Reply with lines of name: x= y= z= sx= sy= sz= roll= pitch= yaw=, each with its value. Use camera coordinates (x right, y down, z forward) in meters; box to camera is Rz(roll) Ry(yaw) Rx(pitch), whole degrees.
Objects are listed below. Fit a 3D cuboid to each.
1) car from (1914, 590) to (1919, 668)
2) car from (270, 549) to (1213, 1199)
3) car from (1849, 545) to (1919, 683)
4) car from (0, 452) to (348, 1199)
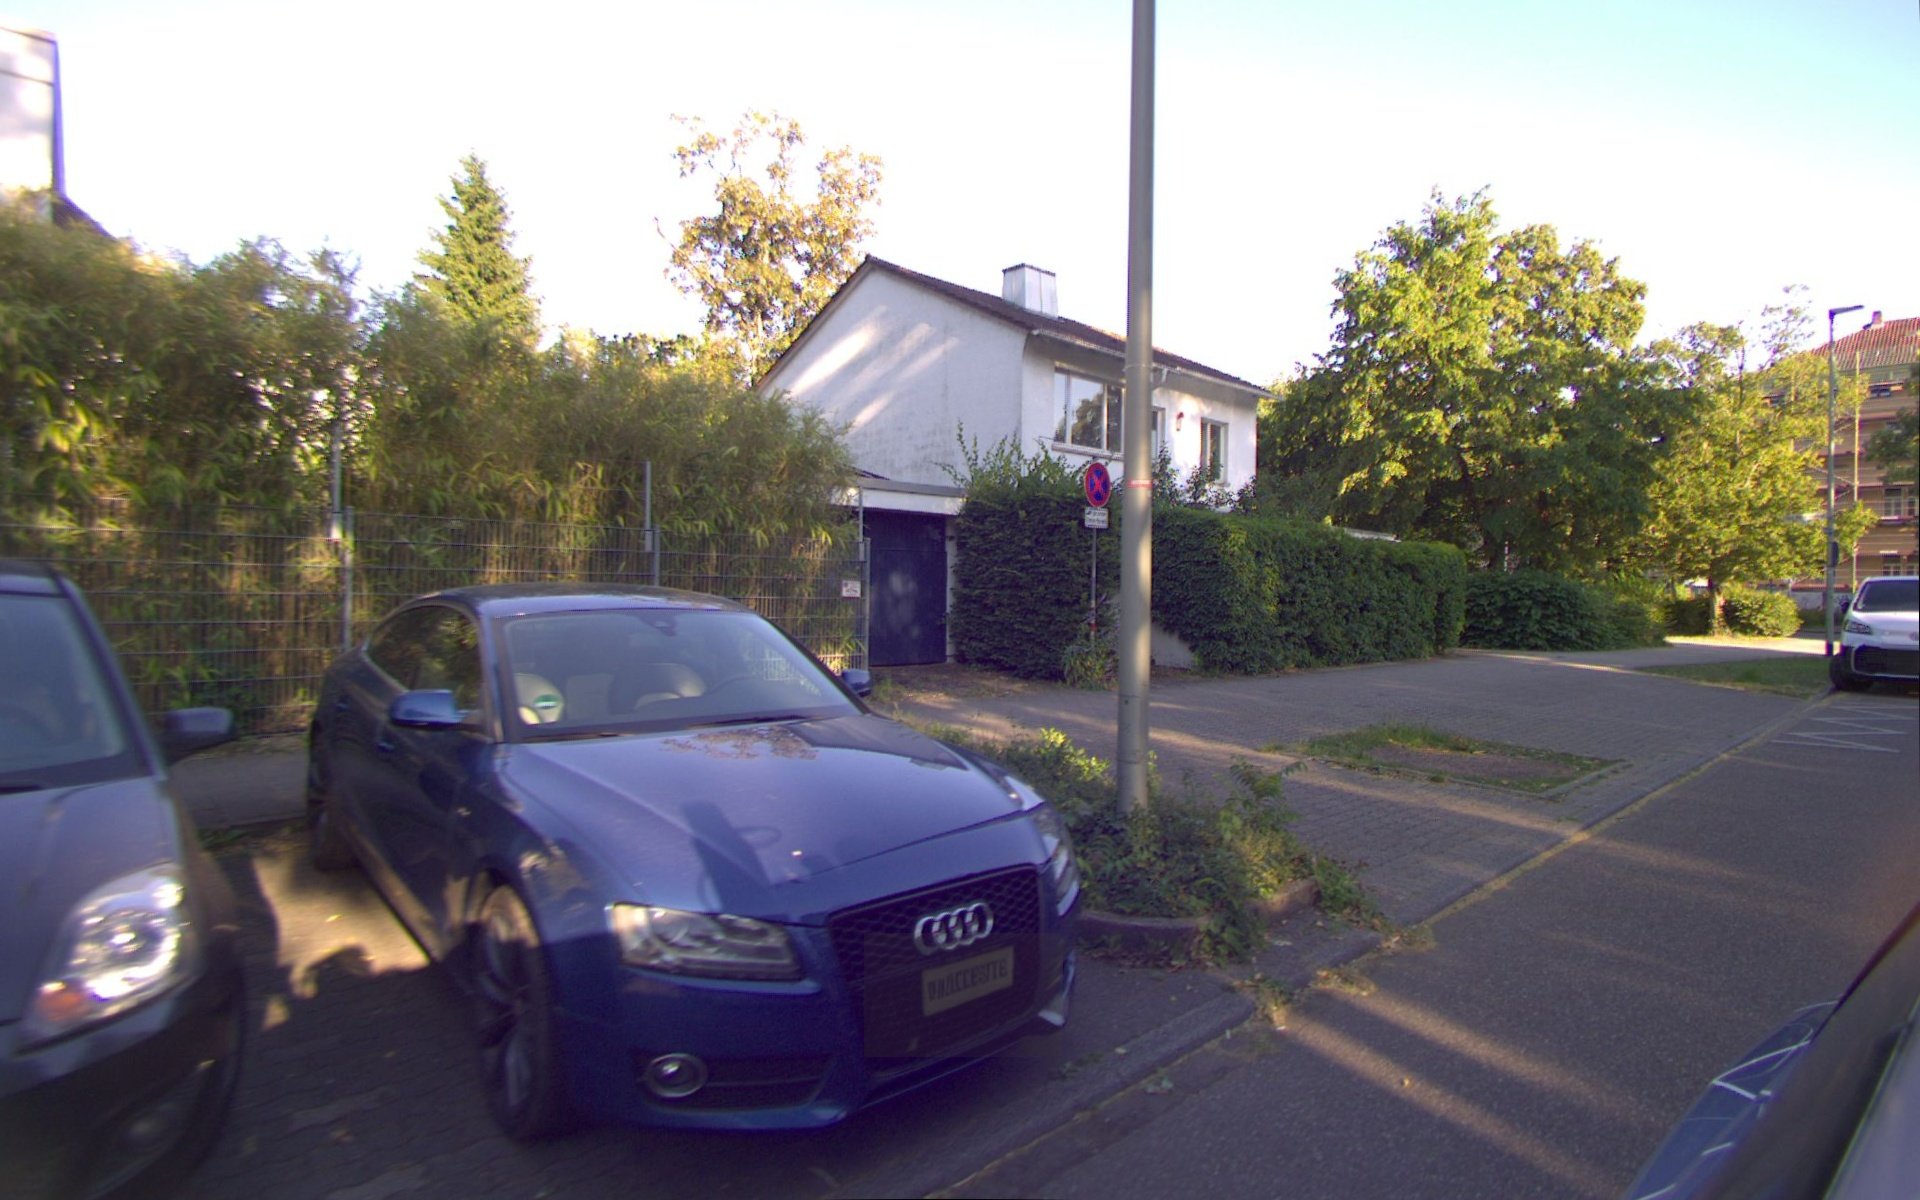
car: x=20.529 y=0.542 z=20.374 sx=4.786 sy=1.486 sz=1.766 roll=0 pitch=1 yaw=-45
car: x=-1.435 y=0.529 z=4.265 sx=1.890 sy=1.432 sz=4.598 roll=-2 pitch=4 yaw=-41
car: x=16.144 y=0.197 z=16.640 sx=5.069 sy=2.039 sz=1.954 roll=0 pitch=1 yaw=-45
car: x=-3.203 y=0.500 z=2.764 sx=3.681 sy=1.543 sz=1.763 roll=1 pitch=1 yaw=44
